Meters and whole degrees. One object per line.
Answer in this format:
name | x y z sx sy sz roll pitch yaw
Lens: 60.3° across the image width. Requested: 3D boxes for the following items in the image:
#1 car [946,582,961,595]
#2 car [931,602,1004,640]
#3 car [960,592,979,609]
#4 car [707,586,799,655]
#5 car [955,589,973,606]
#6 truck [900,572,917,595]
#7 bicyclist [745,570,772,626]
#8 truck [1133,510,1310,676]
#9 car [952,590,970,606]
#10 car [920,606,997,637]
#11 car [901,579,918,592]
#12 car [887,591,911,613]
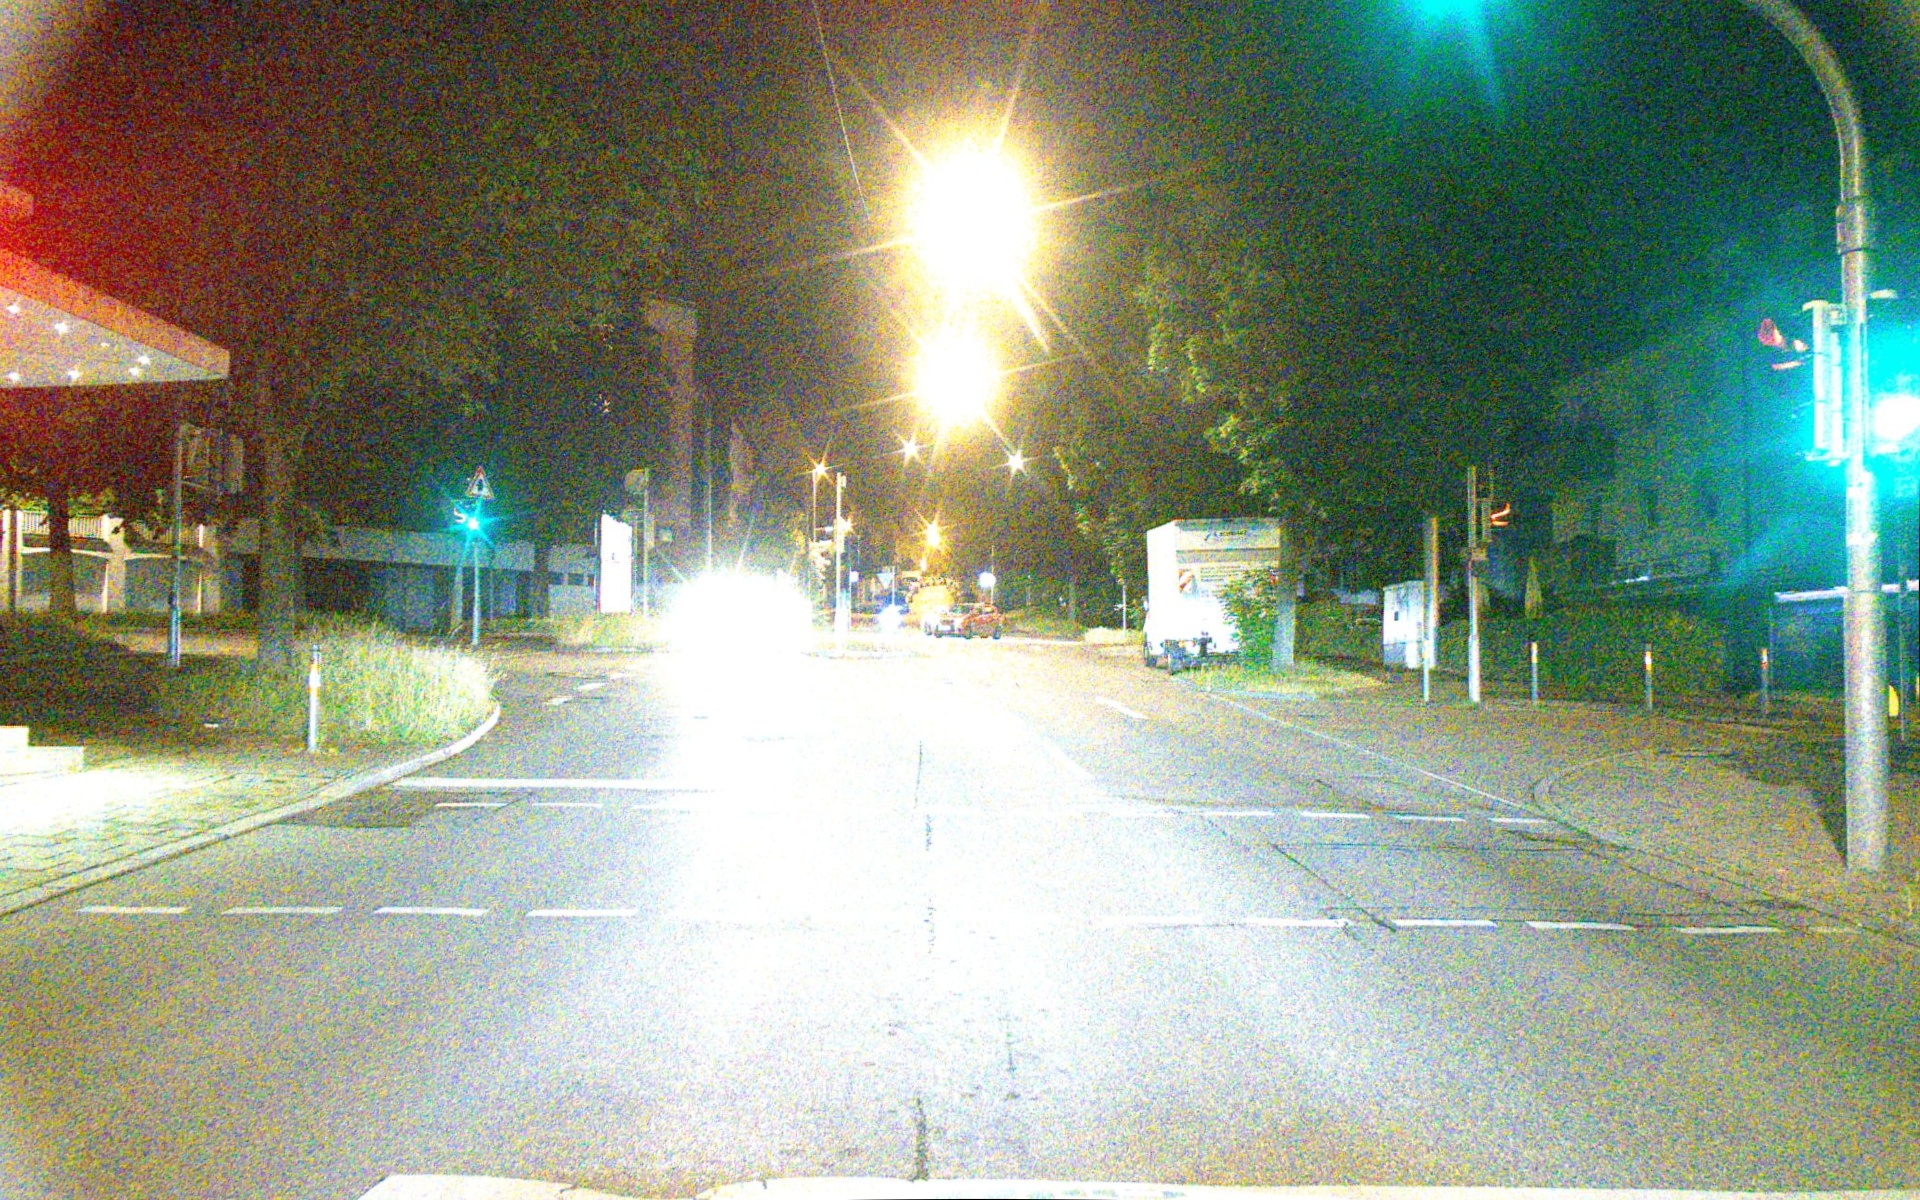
car | -0.744 -1.343 191.938 1.601 1.477 3.484 1 0 -1
car | 0.328 0.848 69.019 1.552 1.528 3.389 1 0 30
car | 0.802 0.019 143.827 1.601 1.477 3.484 1 0 -1
car | -4.984 0.470 40.307 1.820 1.561 4.026 1 0 -2
car | 0.336 -0.227 153.556 1.601 1.477 3.484 1 0 -1
truck | -6.540 -2.106 209.959 2.045 2.897 5.828 1 0 -2
bicyclist | -6.091 -0.050 50.007 0.676 1.666 0.896 1 -1 -1
truck | 5.375 -0.144 35.041 2.693 3.165 6.258 1 0 0
car | 0.107 -0.204 159.736 1.601 1.477 3.484 1 0 -1
car | -0.108 1.026 81.025 1.894 1.413 4.542 1 0 -27
car | -5.736 -1.630 187.344 1.779 1.517 3.998 1 0 -3
car | -4.967 0.147 134.814 1.778 1.713 3.999 1 0 -1
